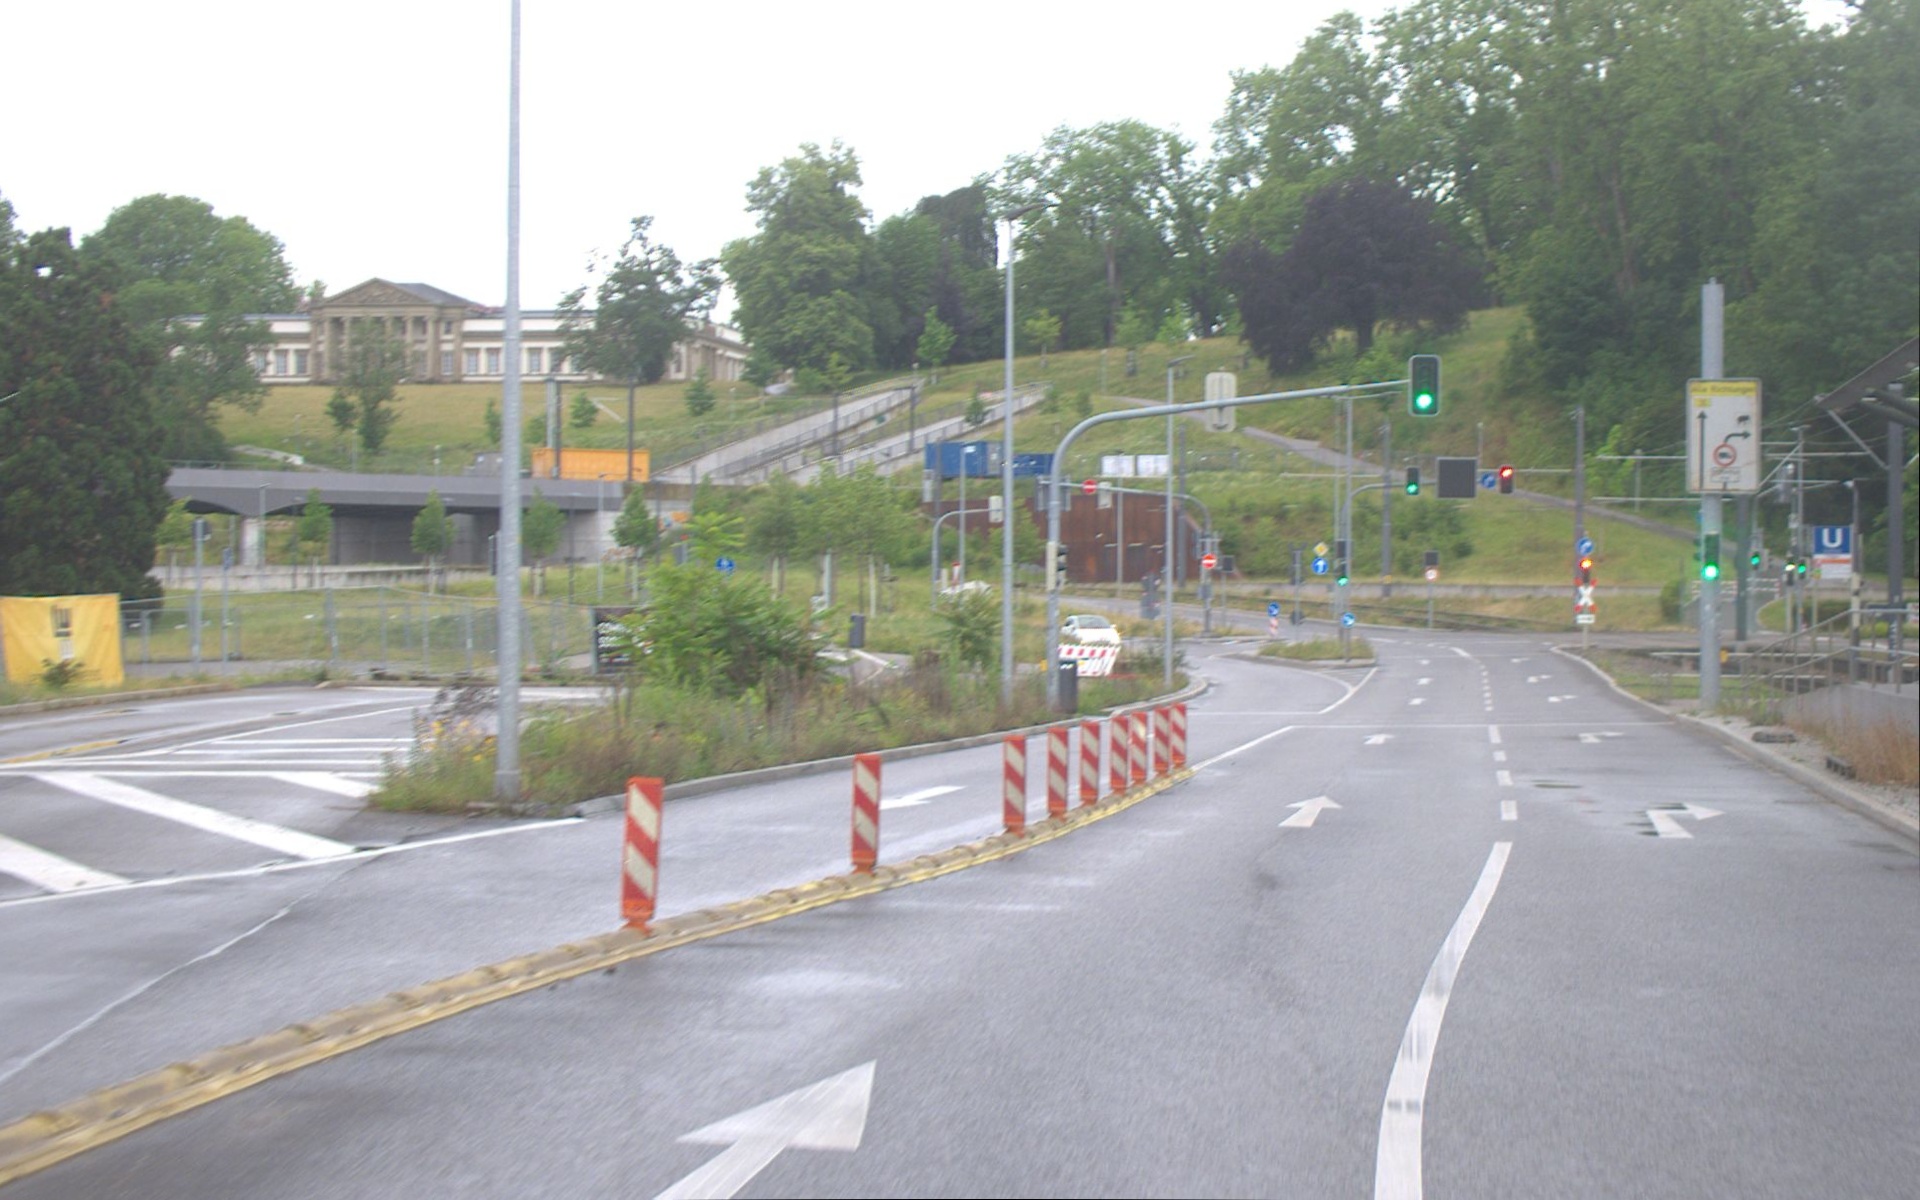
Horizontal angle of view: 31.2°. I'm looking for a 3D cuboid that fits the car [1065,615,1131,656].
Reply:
[{"bbox_3d":[5.199,1.335,129.973,1.586,1.486,3.715,-1,0,-13],"label":"car"}]
